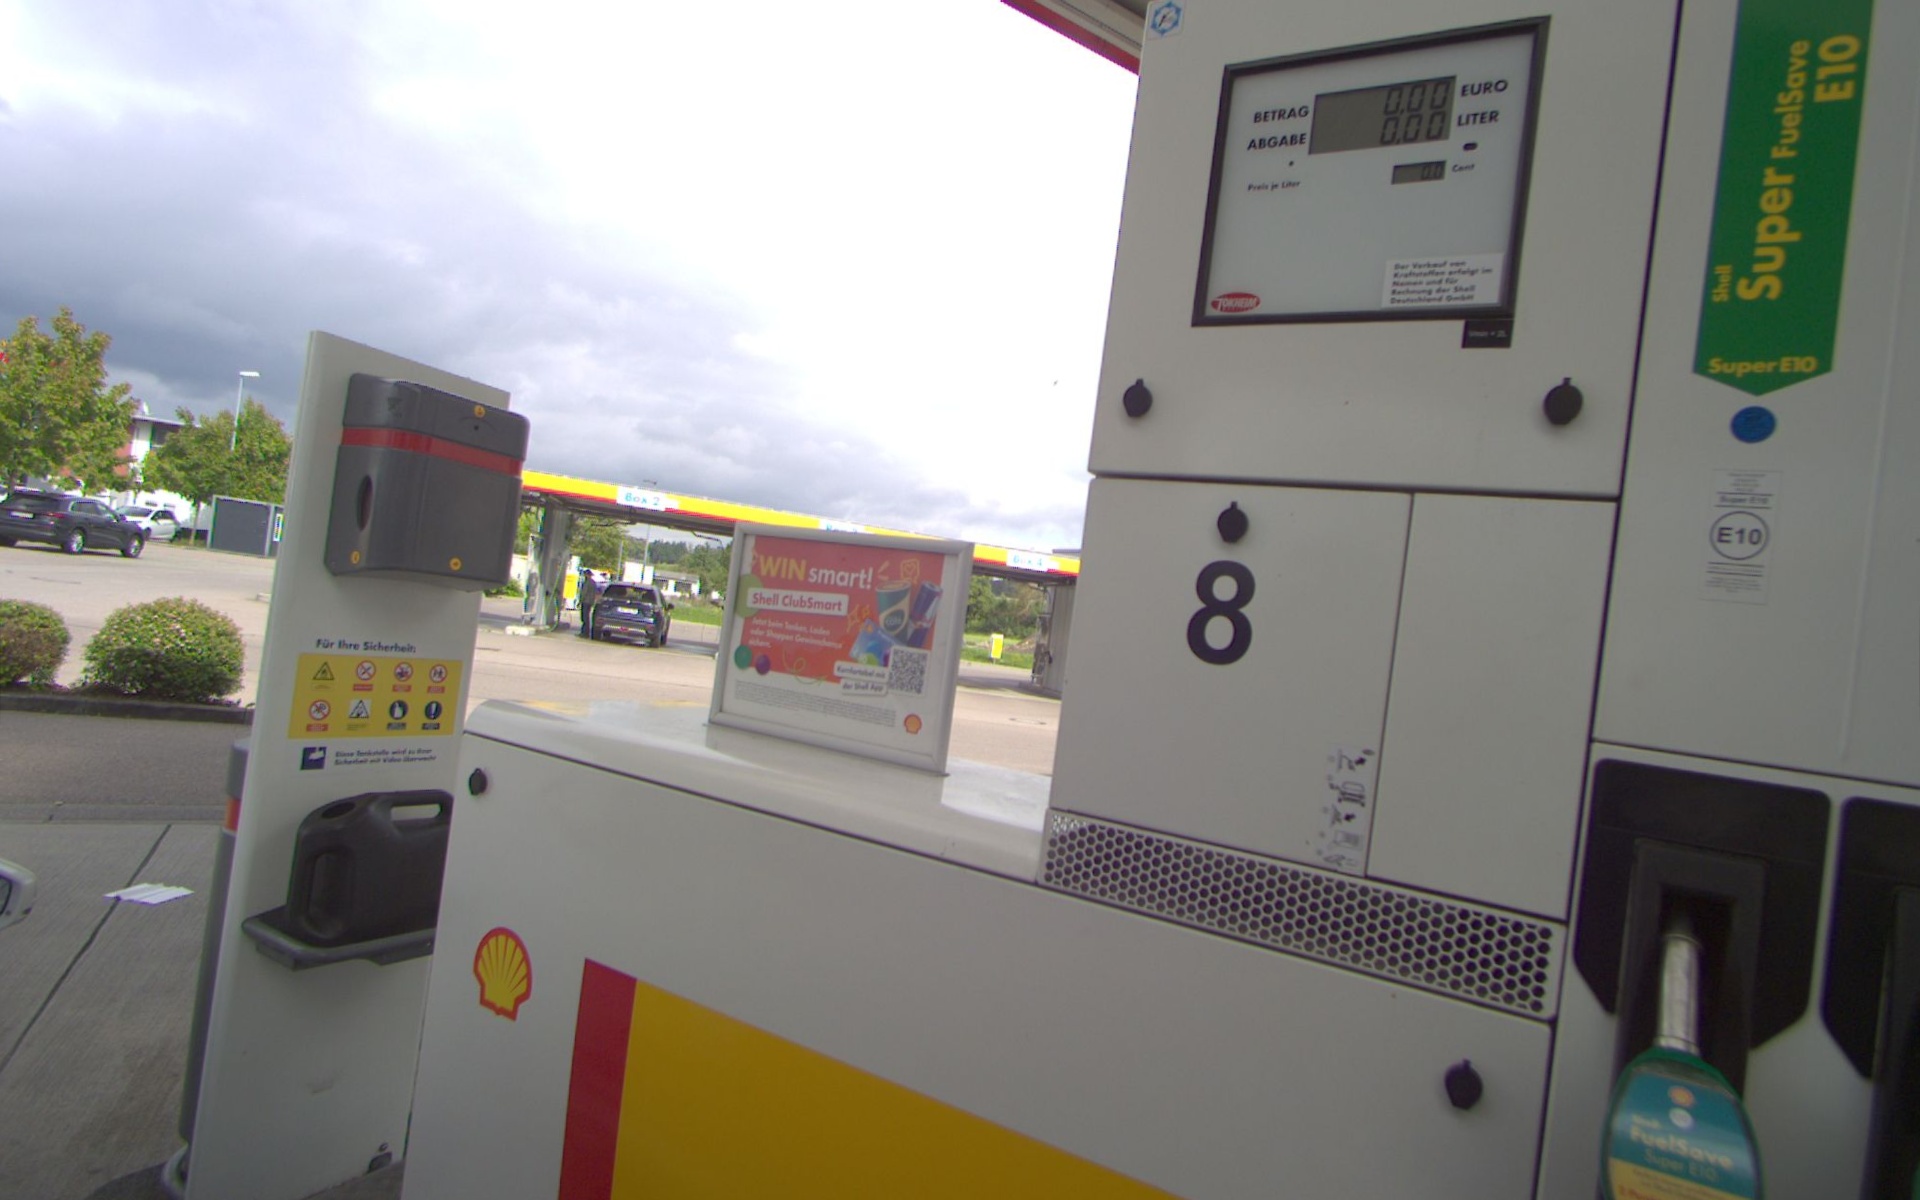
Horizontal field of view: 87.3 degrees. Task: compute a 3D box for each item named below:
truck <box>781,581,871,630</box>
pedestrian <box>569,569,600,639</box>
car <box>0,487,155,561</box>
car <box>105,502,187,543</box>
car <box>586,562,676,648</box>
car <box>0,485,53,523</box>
[{"bbox_3d":[-13.015,0.557,97.502,7.978,3.575,2.687,8,-2,-19],"label":"truck"},{"bbox_3d":[-9.725,0.095,26.067,0.550,1.742,0.526,7,-1,-21],"label":"pedestrian"},{"bbox_3d":[-25.927,-2.167,29.256,1.855,1.566,4.498,8,-2,-10],"label":"car"},{"bbox_3d":[-35.257,-3.339,43.641,1.346,1.322,3.098,8,-2,-12],"label":"car"},{"bbox_3d":[-8.695,0.150,26.858,1.696,1.919,3.800,8,-2,-12],"label":"car"},{"bbox_3d":[-57.359,-5.902,60.236,2.149,1.854,4.870,8,-2,-11],"label":"car"}]
